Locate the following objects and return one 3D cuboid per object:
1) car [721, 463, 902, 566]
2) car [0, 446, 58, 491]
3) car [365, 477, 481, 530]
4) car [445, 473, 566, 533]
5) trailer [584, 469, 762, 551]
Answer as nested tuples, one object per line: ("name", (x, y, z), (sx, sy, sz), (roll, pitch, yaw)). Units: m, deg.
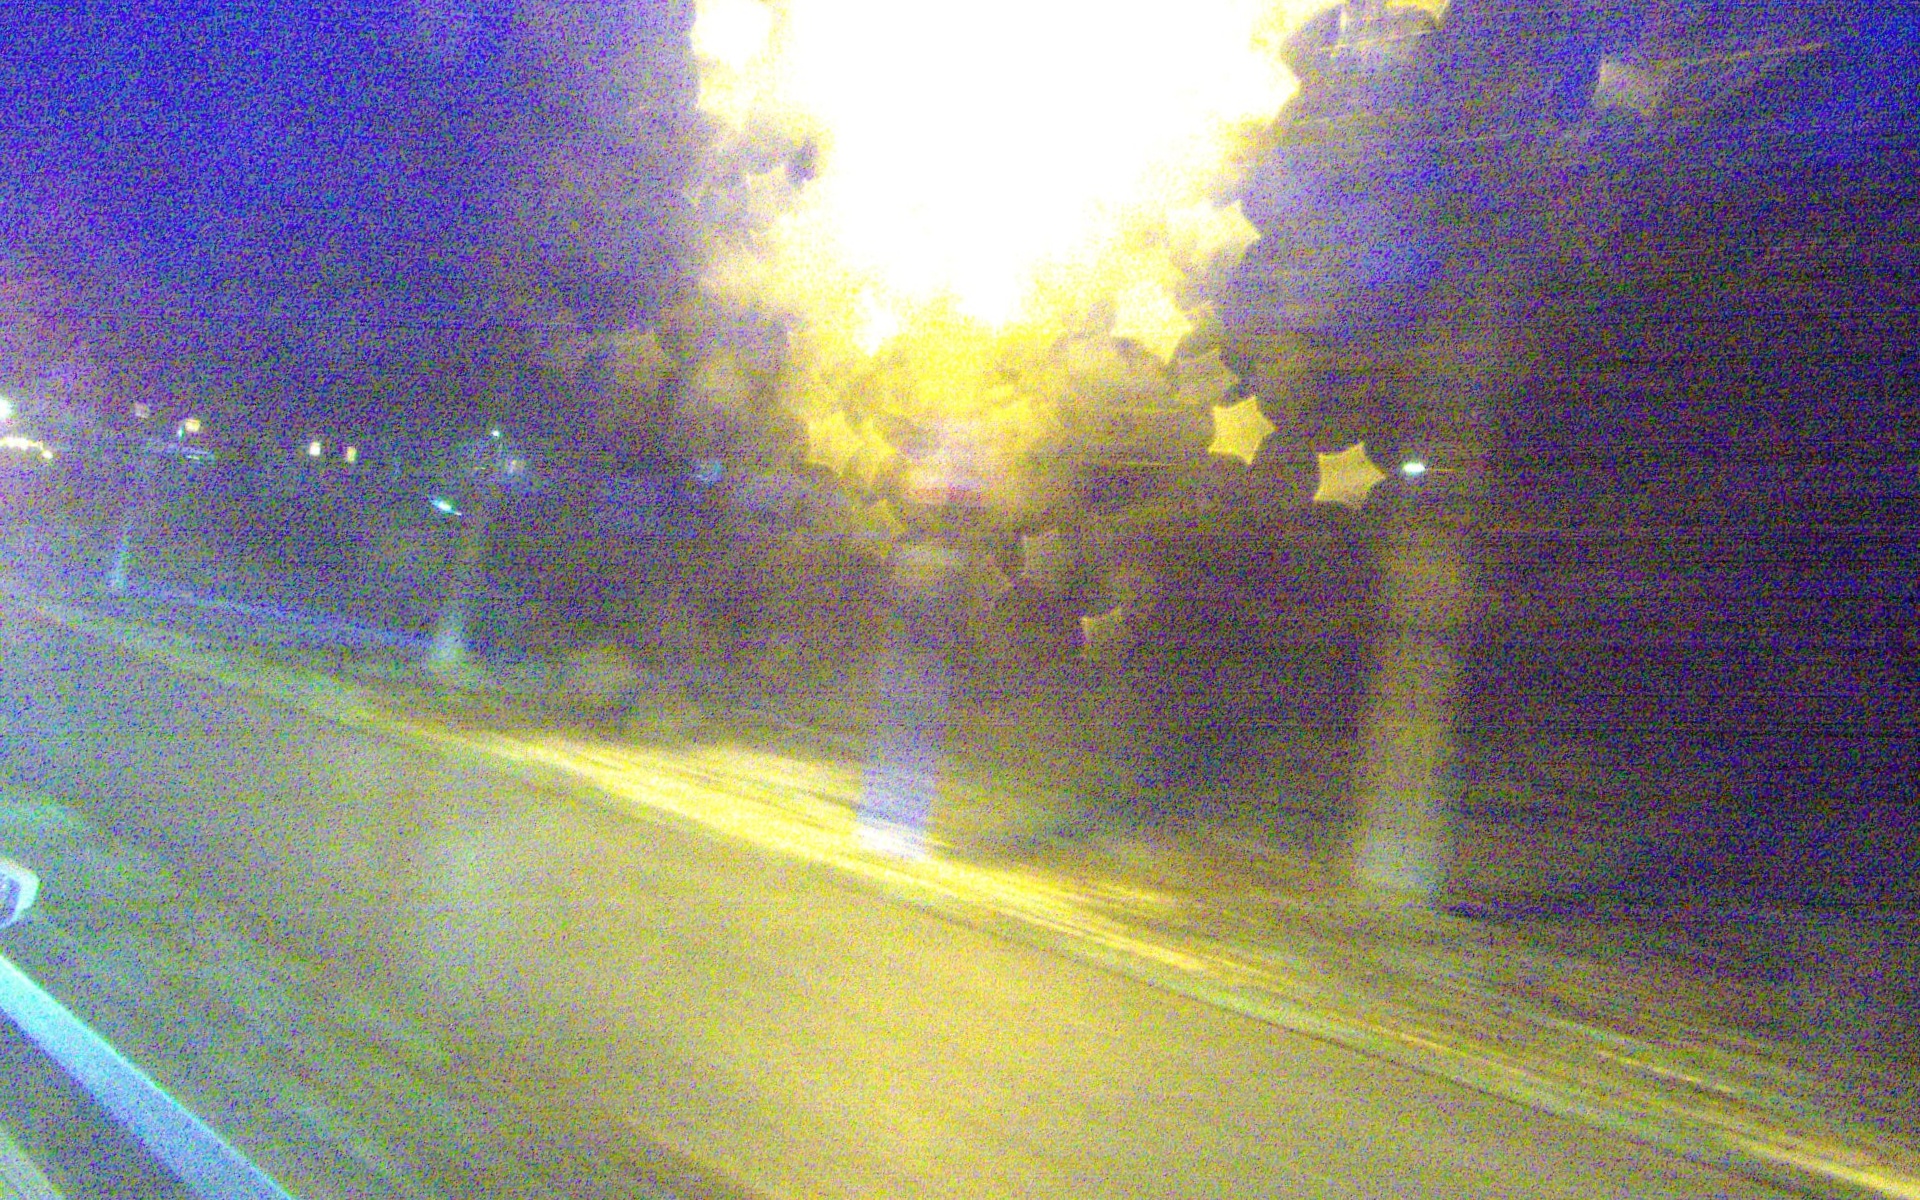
("car", (-4.920, -2.841, 33.354), (5.350, 2.666, 2.122), (7, -1, 21))
("car", (-44.795, -6.286, 47.260), (4.057, 1.636, 1.643), (8, -1, 18))
("car", (-20.860, -3.751, 39.109), (3.925, 1.489, 1.619), (7, -2, 19))
("car", (-16.985, -3.622, 37.643), (3.925, 1.659, 1.619), (7, -2, 19))
("trailer", (-10.055, -3.164, 35.280), (5.615, 2.096, 2.234), (7, -1, 21))
